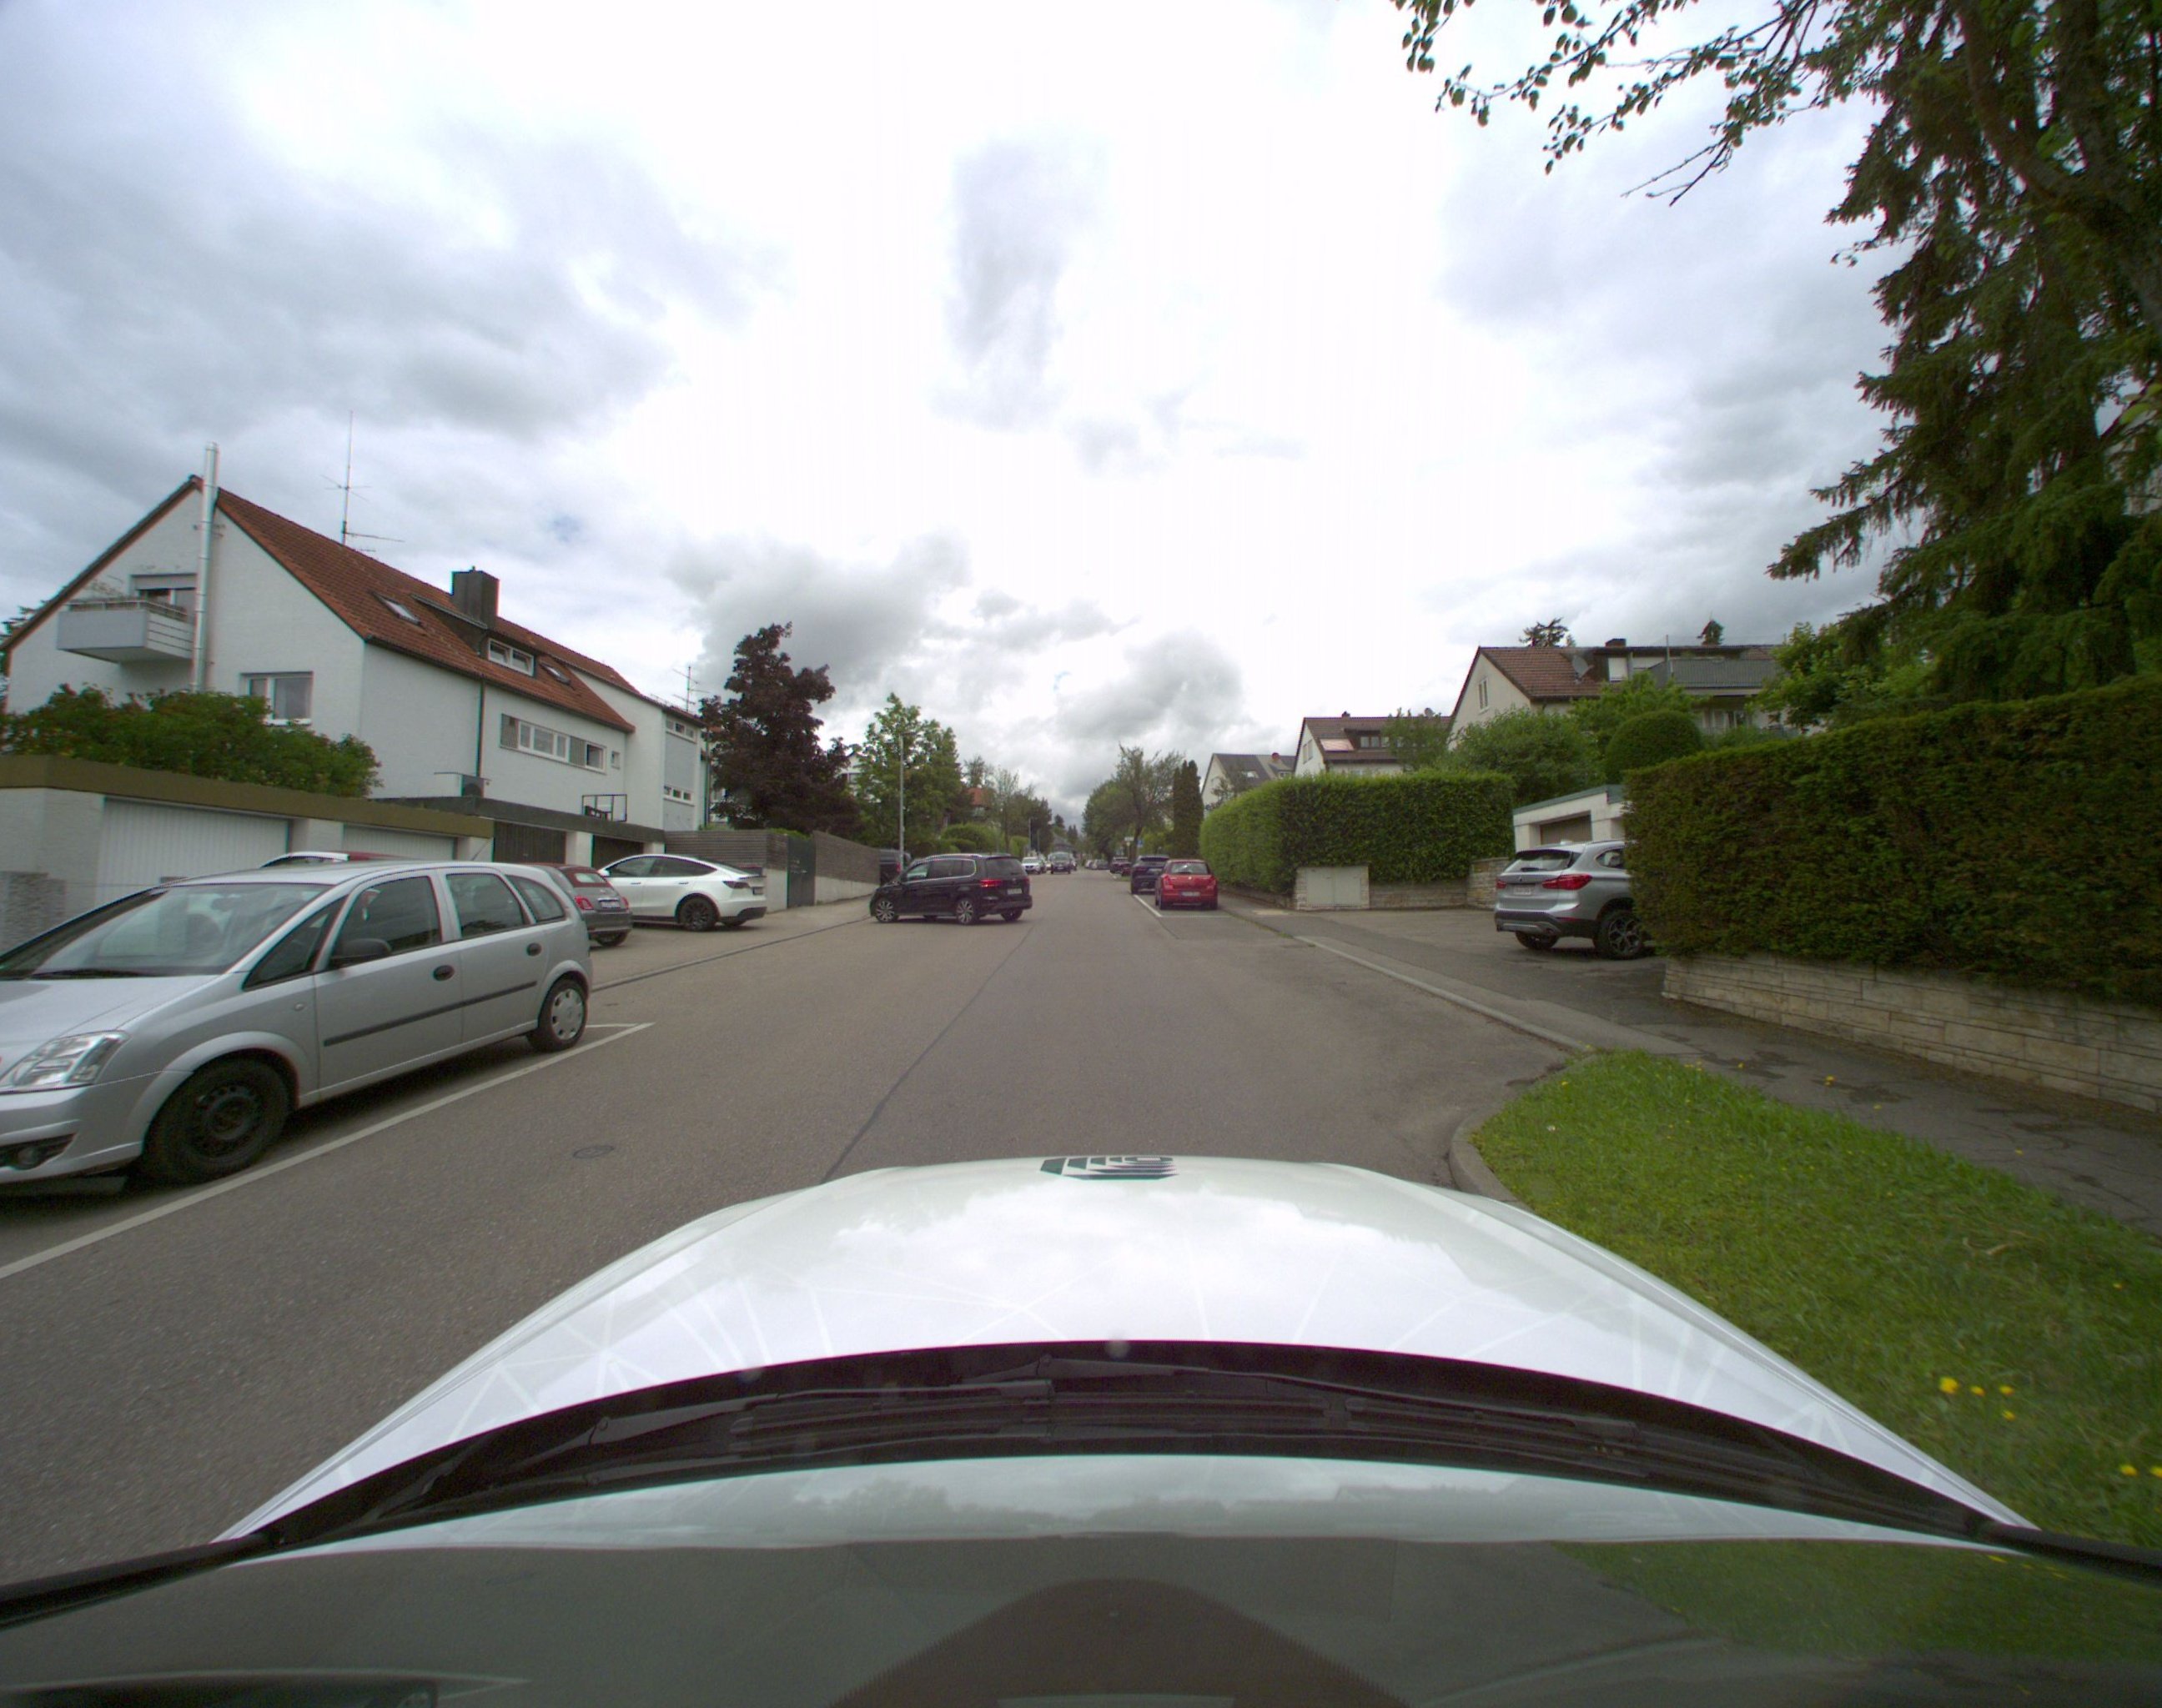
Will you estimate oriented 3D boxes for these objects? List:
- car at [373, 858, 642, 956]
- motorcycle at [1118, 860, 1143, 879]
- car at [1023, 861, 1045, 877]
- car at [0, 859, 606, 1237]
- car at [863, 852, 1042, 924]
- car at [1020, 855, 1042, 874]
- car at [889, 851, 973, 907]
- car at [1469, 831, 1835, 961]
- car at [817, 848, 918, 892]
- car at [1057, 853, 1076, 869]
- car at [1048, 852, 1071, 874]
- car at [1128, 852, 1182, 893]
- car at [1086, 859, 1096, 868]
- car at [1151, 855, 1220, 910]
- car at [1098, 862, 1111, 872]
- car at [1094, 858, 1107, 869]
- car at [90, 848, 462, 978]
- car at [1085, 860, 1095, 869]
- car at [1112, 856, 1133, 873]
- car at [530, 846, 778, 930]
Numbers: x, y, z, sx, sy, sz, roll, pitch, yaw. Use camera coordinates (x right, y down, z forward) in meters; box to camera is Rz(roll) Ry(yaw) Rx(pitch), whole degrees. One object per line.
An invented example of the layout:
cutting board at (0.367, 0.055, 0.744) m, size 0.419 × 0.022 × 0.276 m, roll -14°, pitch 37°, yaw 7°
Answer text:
car at (-9.843, 0.883, 14.179) m, size 3.416 × 1.512 × 1.693 m, roll 1°, pitch -1°, yaw 1°
motorcycle at (3.627, 1.141, 59.742) m, size 1.876 × 1.346 × 0.593 m, roll -1°, pitch 0°, yaw -35°
car at (-4.344, 1.409, 76.255) m, size 1.756 × 1.388 × 3.999 m, roll -3°, pitch -2°, yaw 0°
car at (-5.151, 0.845, 5.330) m, size 1.755 × 1.563 × 3.855 m, roll -2°, pitch 0°, yaw 0°
car at (-3.218, 0.790, 20.113) m, size 4.255 × 1.611 × 1.865 m, roll -1°, pitch -1°, yaw 35°
car at (-4.331, 0.866, 70.459) m, size 1.718 × 1.540 × 3.997 m, roll -2°, pitch 0°, yaw -2°
car at (-4.975, 0.788, 27.617) m, size 1.830 × 1.666 × 4.409 m, roll -2°, pitch 0°, yaw 1°
car at (8.136, 0.542, 11.800) m, size 4.205 × 1.599 × 1.877 m, roll -1°, pitch 0°, yaw -9°
car at (-9.869, 0.740, 37.773) m, size 4.049 × 1.950 × 2.005 m, roll -1°, pitch -2°, yaw 8°
car at (-1.562, 0.797, 91.182) m, size 1.934 × 1.647 × 4.258 m, roll -3°, pitch 0°, yaw 1°
car at (-1.824, 0.758, 70.462) m, size 1.879 × 1.851 × 4.401 m, roll -2°, pitch 0°, yaw 0°
car at (3.104, 0.772, 34.919) m, size 1.986 × 1.618 × 4.514 m, roll 1°, pitch 0°, yaw 1°
car at (1.816, 1.749, 152.227) m, size 1.661 × 1.668 × 3.463 m, roll 0°, pitch 0°, yaw -4°
car at (3.120, 0.814, 24.943) m, size 1.655 × 1.508 × 3.758 m, roll -1°, pitch 0°, yaw 1°
car at (3.494, 1.909, 120.604) m, size 1.661 × 1.501 × 3.463 m, roll 0°, pitch 0°, yaw -4°
car at (3.041, 1.392, 125.213) m, size 1.710 × 1.657 × 3.618 m, roll 0°, pitch 0°, yaw -3°
car at (-10.937, 0.770, 11.253) m, size 3.416 × 1.578 × 1.657 m, roll 1°, pitch -1°, yaw 1°
car at (1.580, 1.802, 145.252) m, size 1.661 × 1.501 × 3.463 m, roll 0°, pitch 0°, yaw -4°
car at (3.934, 0.941, 77.318) m, size 1.876 × 1.533 × 4.477 m, roll 0°, pitch 0°, yaw 2°
car at (-9.308, 0.718, 18.037) m, size 4.398 × 1.629 × 1.910 m, roll 2°, pitch 0°, yaw -1°
